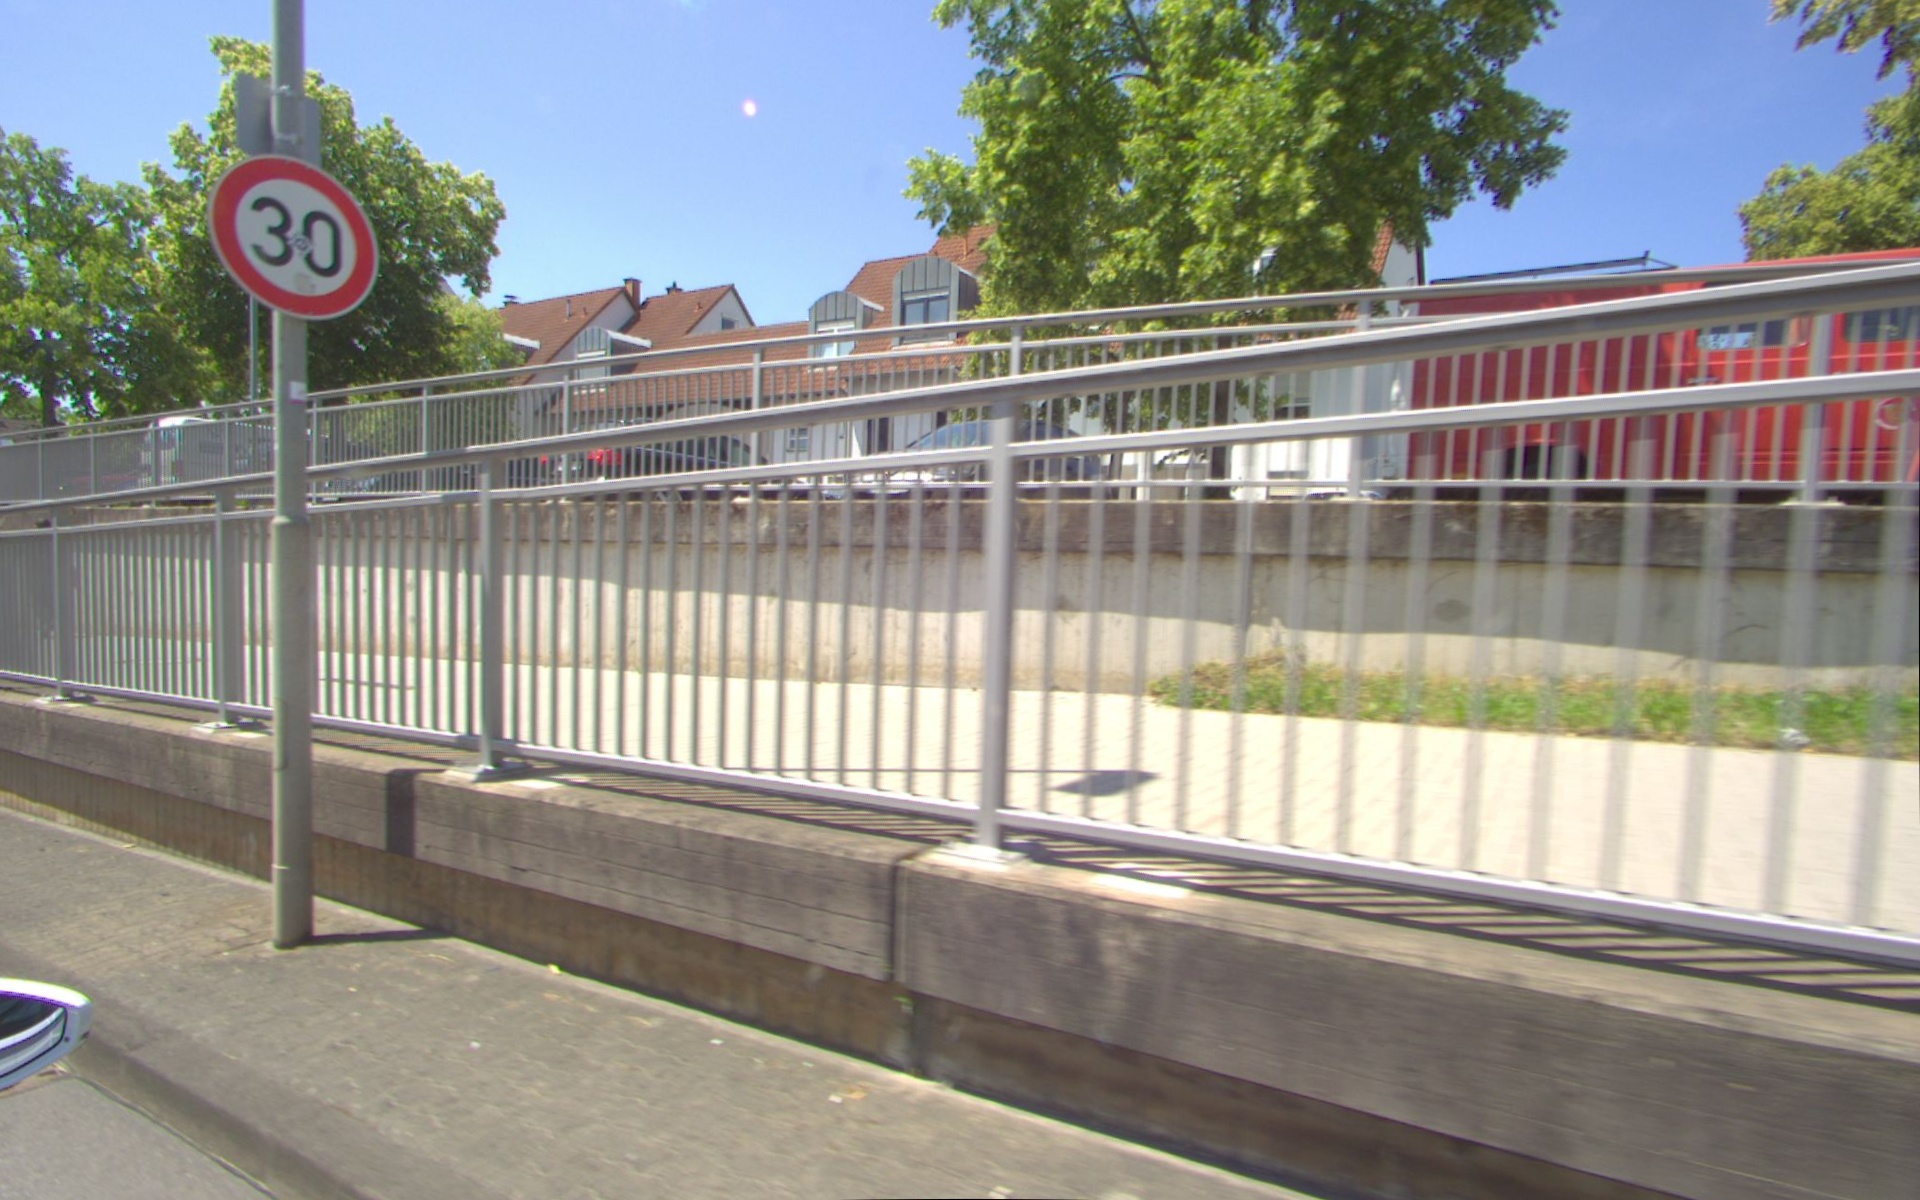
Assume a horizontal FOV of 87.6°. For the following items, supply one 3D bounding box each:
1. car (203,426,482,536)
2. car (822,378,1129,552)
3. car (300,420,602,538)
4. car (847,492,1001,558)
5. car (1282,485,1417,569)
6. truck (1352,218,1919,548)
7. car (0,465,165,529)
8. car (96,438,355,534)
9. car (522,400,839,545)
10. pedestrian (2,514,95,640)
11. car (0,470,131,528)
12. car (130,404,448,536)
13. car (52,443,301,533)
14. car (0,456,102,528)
[{"bbox_3d":[-11.488,-2.136,18.919,1.662,1.618,4.194,3,2,33],"label":"car"},{"bbox_3d":[0.359,-1.415,11.792,1.723,1.519,3.977,3,2,33],"label":"car"},{"bbox_3d":[-8.405,-1.917,16.912,1.723,1.519,4.275,3,2,33],"label":"car"},{"bbox_3d":[-0.806,-1.841,25.459,1.732,1.511,4.394,3,4,32],"label":"car"},{"bbox_3d":[7.839,-1.402,19.965,1.732,1.499,3.926,3,4,32],"label":"car"},{"bbox_3d":[6.571,-1.739,9.158,5.182,2.366,2.128,3,2,32],"label":"truck"},{"bbox_3d":[-23.854,-2.707,26.686,1.662,1.386,3.896,3,2,33],"label":"car"},{"bbox_3d":[-15.598,-2.340,21.498,1.662,1.618,4.194,3,2,33],"label":"car"},{"bbox_3d":[-3.699,-1.621,13.970,1.662,1.519,4.194,3,2,33],"label":"car"},{"bbox_3d":[-13.556,-0.327,14.902,0.777,1.806,0.834,1,1,33],"label":"pedestrian"},{"bbox_3d":[-25.876,-2.817,27.986,1.662,1.386,3.896,3,2,33],"label":"car"},{"bbox_3d":[-13.590,-2.510,20.642,1.960,2.092,5.099,3,2,33],"label":"car"},{"bbox_3d":[-17.751,-2.464,22.895,1.662,1.618,4.194,3,2,33],"label":"car"},{"bbox_3d":[-27.872,-3.183,29.315,1.662,1.911,3.896,3,2,33],"label":"car"}]
